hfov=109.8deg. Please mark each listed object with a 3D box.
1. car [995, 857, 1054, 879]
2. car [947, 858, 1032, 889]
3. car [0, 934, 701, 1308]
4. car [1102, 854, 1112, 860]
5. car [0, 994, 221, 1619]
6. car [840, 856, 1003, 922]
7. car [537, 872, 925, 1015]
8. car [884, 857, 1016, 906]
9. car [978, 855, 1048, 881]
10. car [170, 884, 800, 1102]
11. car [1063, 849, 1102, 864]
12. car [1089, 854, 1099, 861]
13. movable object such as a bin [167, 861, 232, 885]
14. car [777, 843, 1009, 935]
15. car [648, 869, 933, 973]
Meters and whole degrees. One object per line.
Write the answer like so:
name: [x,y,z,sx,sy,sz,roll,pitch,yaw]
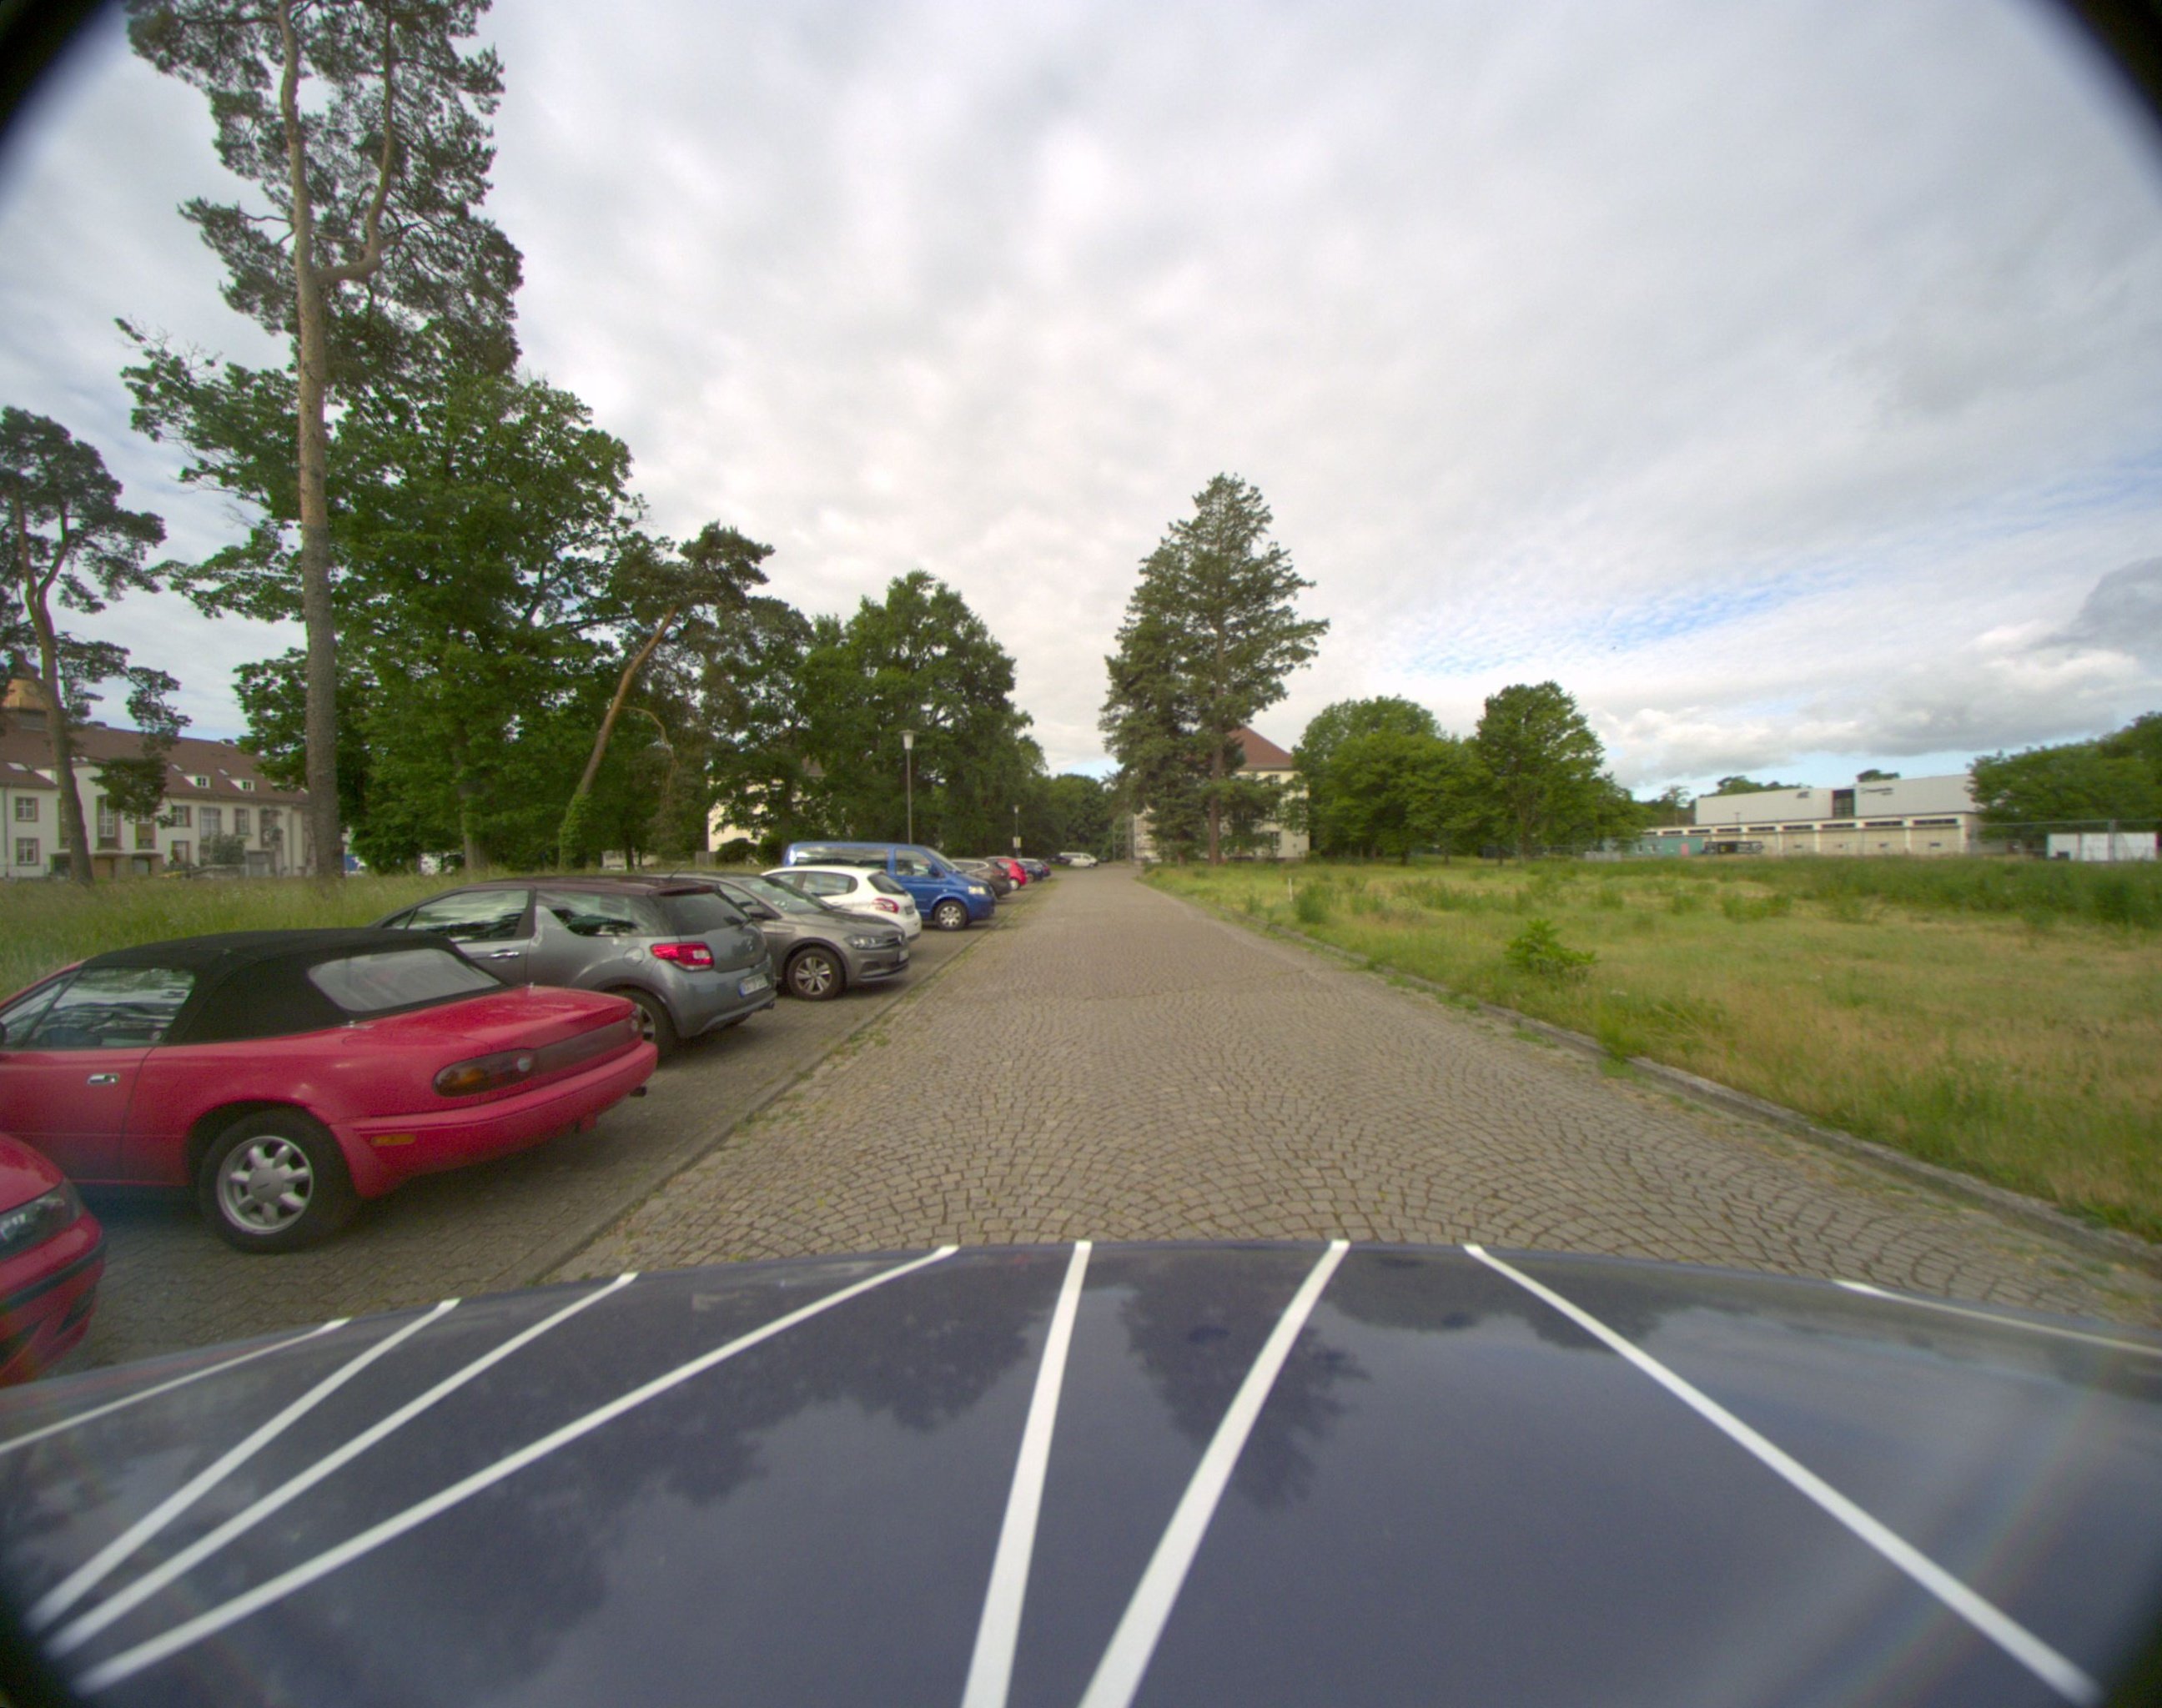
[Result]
car: [-3.790,0.952,51.546,3.878,1.417,1.582,0,0,-1]
car: [-4.382,0.921,36.645,3.894,1.451,1.582,0,0,-1]
car: [-4.300,1.138,3.824,3.872,1.229,1.758,1,0,-1]
car: [5.724,0.632,167.271,1.870,1.408,4.694,1,0,-4]
car: [-4.725,1.101,1.341,4.273,1.408,1.871,1,0,0]
car: [-4.126,0.883,20.095,3.872,1.463,1.841,3,0,-1]
car: [-4.021,1.007,9.210,3.872,1.463,1.758,1,0,0]
car: [-4.450,0.937,26.369,4.271,1.589,1.822,0,0,-1]
car: [-4.168,0.854,46.886,4.150,1.529,1.582,0,0,-1]
car: [-4.633,1.050,6.383,3.872,1.463,1.758,1,0,-1]
car: [0.186,0.342,100.330,5.141,1.860,1.723,0,0,-1]
car: [2.835,0.714,166.739,1.870,1.408,4.694,1,0,-4]
movable object such as a bin: [-76.034,1.608,65.605,1.679,2.002,3.245,-1,0,8]
car: [-4.162,0.762,17.467,4.820,1.934,2.003,1,0,-1]
car: [-4.519,1.015,12.225,3.871,1.463,1.758,1,0,1]
